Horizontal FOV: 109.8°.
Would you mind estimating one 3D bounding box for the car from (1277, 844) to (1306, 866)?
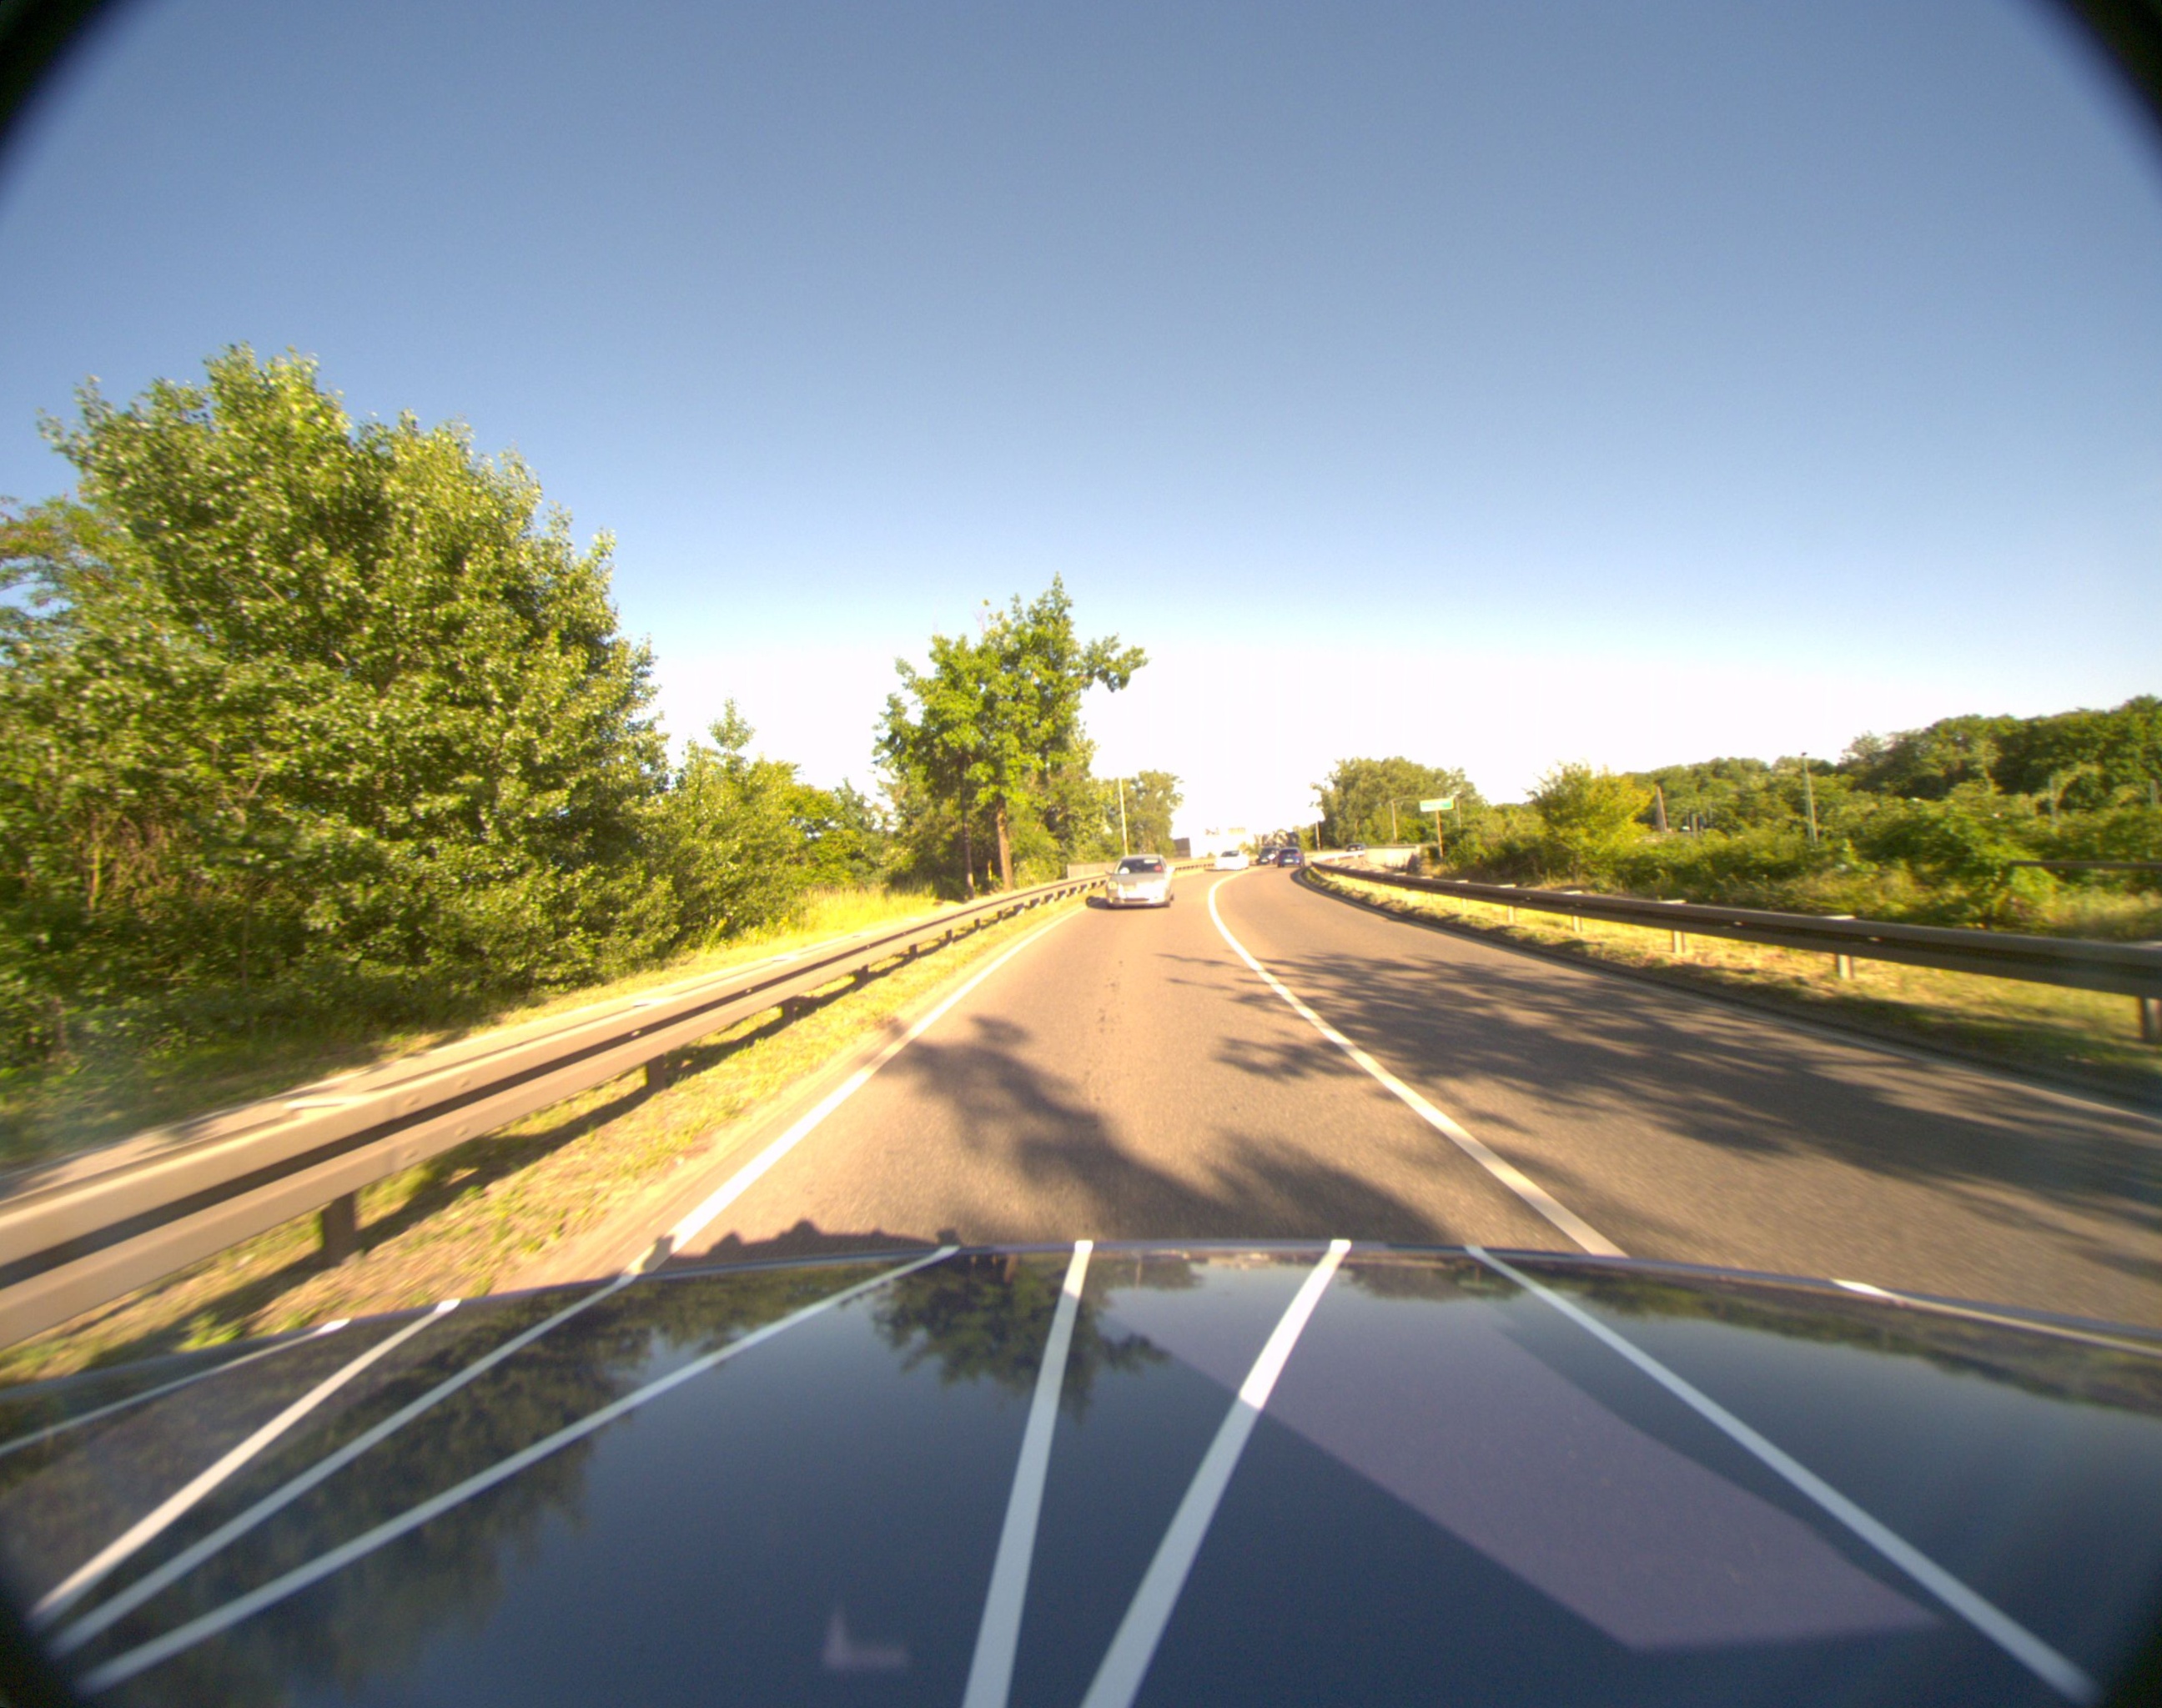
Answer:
[{"bbox_3d":[15.350,0.032,55.328,1.680,1.442,4.005,-3,1,20],"label":"car"}]

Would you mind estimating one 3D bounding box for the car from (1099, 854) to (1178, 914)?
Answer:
[{"bbox_3d":[1.742,0.784,21.679,1.681,1.433,3.861,-3,1,12],"label":"car"}]

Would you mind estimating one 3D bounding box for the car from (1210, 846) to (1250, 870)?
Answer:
[{"bbox_3d":[10.649,0.233,54.070,2.147,1.558,4.204,-2,1,20],"label":"car"}]

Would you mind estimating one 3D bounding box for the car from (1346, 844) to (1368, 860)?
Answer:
[{"bbox_3d":[31.327,-0.276,86.109,1.680,1.646,3.865,-2,1,29],"label":"car"}]

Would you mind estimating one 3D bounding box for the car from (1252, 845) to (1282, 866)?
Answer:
[{"bbox_3d":[16.678,0.157,68.009,1.680,1.694,3.611,-2,1,27],"label":"car"}]
